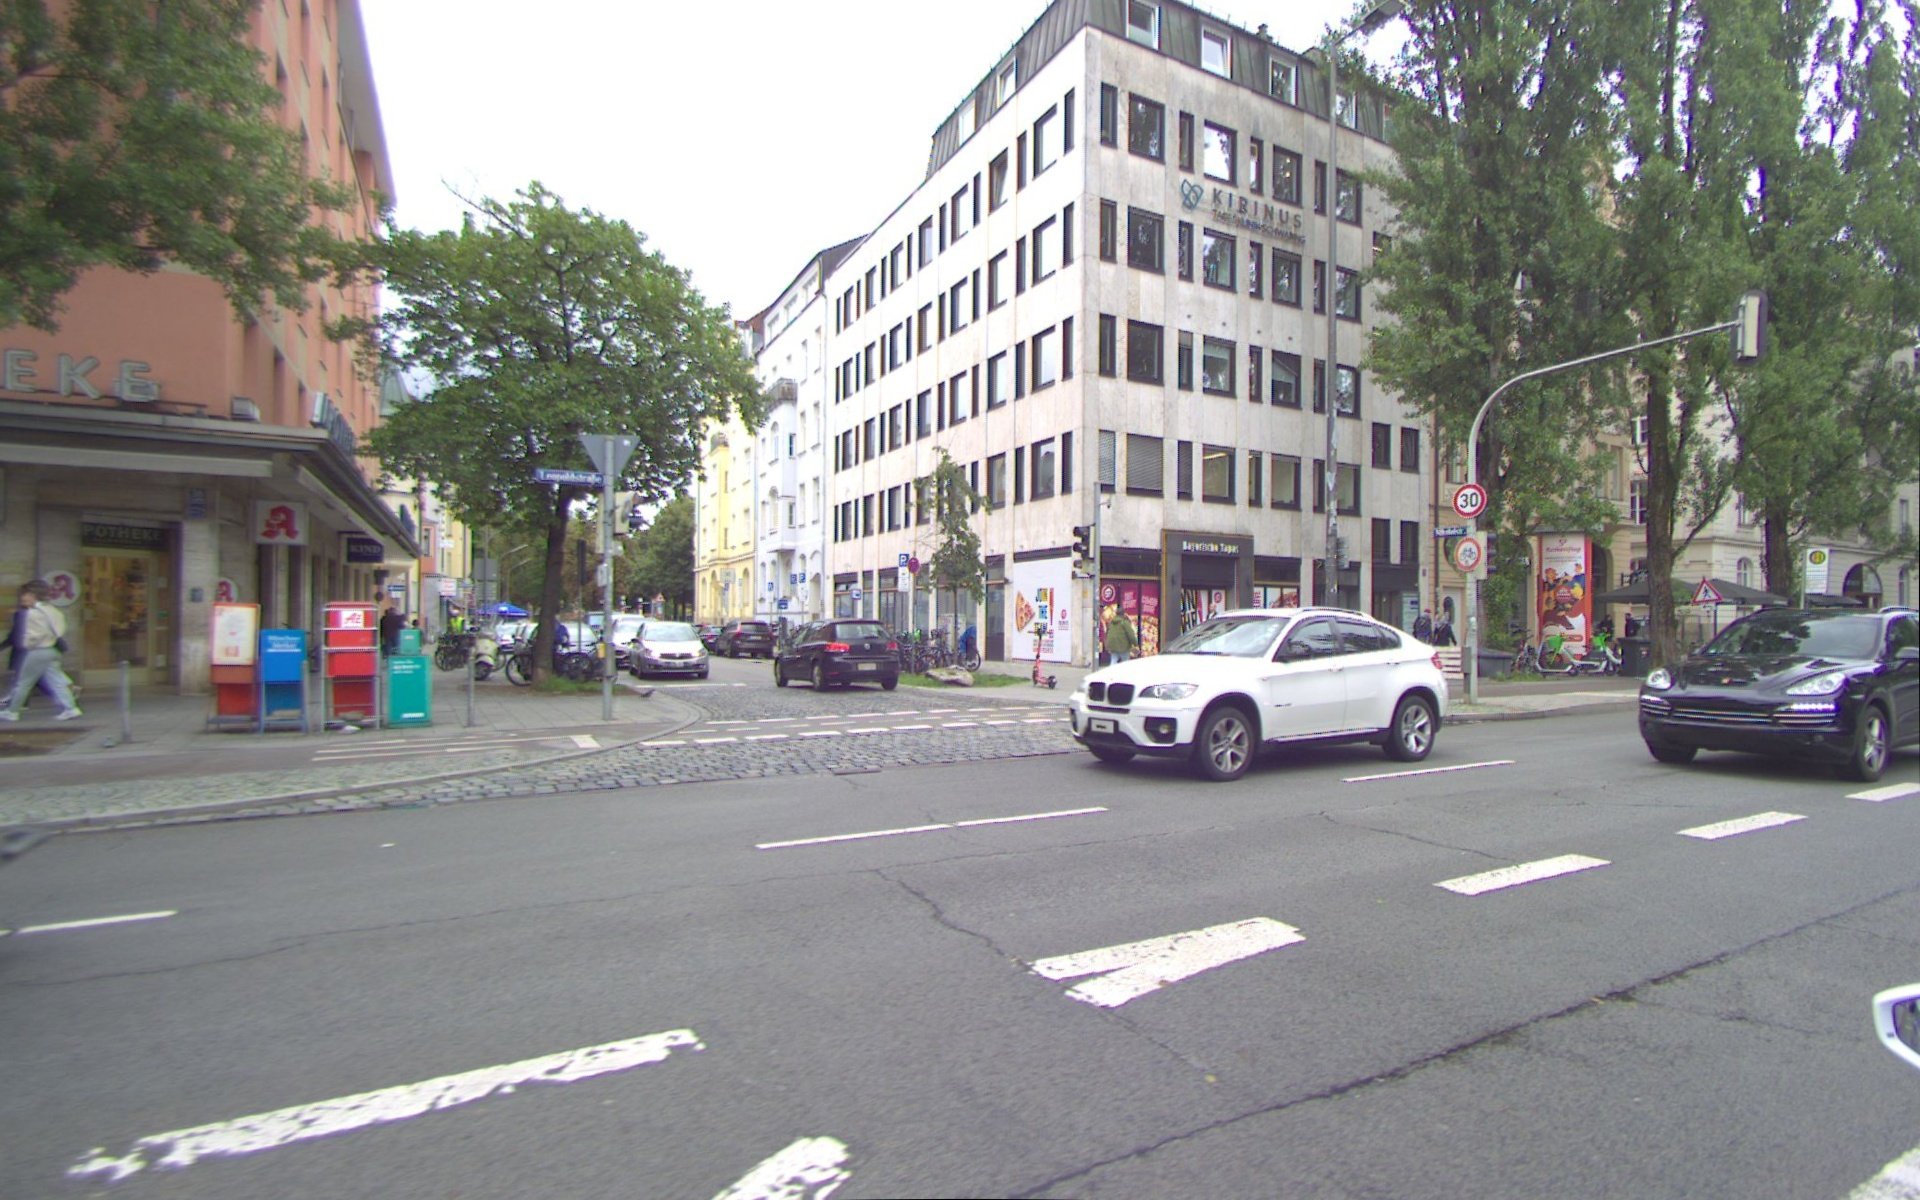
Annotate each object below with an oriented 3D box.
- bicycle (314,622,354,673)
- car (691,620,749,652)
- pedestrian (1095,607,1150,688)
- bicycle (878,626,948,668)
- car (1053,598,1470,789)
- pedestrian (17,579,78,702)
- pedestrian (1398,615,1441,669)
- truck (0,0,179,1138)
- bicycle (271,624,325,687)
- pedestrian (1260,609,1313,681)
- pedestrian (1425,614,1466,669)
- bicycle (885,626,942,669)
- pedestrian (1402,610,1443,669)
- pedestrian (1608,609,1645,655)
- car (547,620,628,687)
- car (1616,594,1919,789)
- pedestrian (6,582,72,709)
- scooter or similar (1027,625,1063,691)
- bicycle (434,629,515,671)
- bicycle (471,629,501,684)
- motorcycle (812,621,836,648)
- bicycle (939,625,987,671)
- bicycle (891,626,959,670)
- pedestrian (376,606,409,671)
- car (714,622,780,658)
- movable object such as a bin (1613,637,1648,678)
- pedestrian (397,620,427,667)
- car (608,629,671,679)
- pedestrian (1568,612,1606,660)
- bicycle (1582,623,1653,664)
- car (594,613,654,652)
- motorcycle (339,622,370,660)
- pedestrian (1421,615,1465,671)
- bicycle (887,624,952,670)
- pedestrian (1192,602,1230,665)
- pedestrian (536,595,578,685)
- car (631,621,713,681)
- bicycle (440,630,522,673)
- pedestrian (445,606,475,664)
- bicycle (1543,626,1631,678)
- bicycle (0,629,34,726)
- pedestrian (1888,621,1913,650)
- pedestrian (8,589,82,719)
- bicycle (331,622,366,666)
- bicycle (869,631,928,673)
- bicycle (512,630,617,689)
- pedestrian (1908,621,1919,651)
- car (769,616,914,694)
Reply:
[{"bbox_3d":[-15.670,1.162,25.173,0.681,1.200,2.049,1,-1,-27],"label":"bicycle"},{"bbox_3d":[-11.721,1.723,48.898,1.973,1.439,3.974,1,-1,-26],"label":"car"},{"bbox_3d":[3.642,1.057,22.495,0.931,1.763,0.723,1,0,-31],"label":"pedestrian"},{"bbox_3d":[-1.382,1.385,29.725,2.028,1.200,0.415,1,-1,-15],"label":"bicycle"},{"bbox_3d":[3.421,0.911,11.138,4.581,1.738,1.828,1,-2,-31],"label":"car"},{"bbox_3d":[-13.026,0.566,14.350,0.508,1.713,0.583,1,-1,-30],"label":"pedestrian"},{"bbox_3d":[13.828,1.253,30.229,0.979,1.588,0.746,1,0,-34],"label":"pedestrian"},{"bbox_3d":[-6.819,-0.433,1.703,8.342,3.719,2.451,1,-1,-31],"label":"truck"},{"bbox_3d":[-13.371,1.089,20.324,0.681,1.200,2.049,1,-1,-27],"label":"bicycle"},{"bbox_3d":[7.651,1.031,23.542,0.924,1.640,0.774,1,-1,-31],"label":"pedestrian"},{"bbox_3d":[15.243,1.288,31.561,0.966,1.704,0.728,1,1,-31],"label":"pedestrian"},{"bbox_3d":[-1.322,1.347,29.006,0.410,1.200,1.999,0,-1,39],"label":"bicycle"},{"bbox_3d":[14.858,1.255,32.271,0.901,1.811,0.796,1,1,-30],"label":"pedestrian"},{"bbox_3d":[26.149,1.244,39.413,0.809,1.767,0.903,1,0,-25],"label":"pedestrian"},{"bbox_3d":[-9.420,1.297,25.352,1.755,1.439,3.979,1,0,-21],"label":"car"},{"bbox_3d":[9.375,0.869,11.054,4.387,1.769,1.875,1,-1,-30],"label":"car"},{"bbox_3d":[-12.665,0.610,13.829,0.513,1.711,0.626,1,0,-29],"label":"pedestrian"},{"bbox_3d":[1.841,1.242,21.900,0.430,1.357,1.363,0,-1,-10],"label":"scooter or similar"},{"bbox_3d":[-14.301,1.462,29.629,2.044,1.200,0.682,1,-1,-38],"label":"bicycle"},{"bbox_3d":[-11.577,1.355,24.576,0.530,1.200,2.052,1,0,-22],"label":"bicycle"},{"bbox_3d":[-6.754,1.699,49.911,0.550,1.305,2.126,1,-1,-26],"label":"motorcycle"},{"bbox_3d":[0.068,1.389,29.347,0.550,1.266,2.126,1,-1,-26],"label":"bicycle"},{"bbox_3d":[-0.963,1.325,27.987,2.014,1.200,0.412,1,-1,-38],"label":"bicycle"},{"bbox_3d":[-16.073,1.084,28.462,0.772,1.790,0.659,1,0,-31],"label":"pedestrian"},{"bbox_3d":[-9.399,1.755,44.169,1.973,1.490,3.975,0,-2,-25],"label":"car"},{"bbox_3d":[18.384,1.578,27.557,0.712,1.055,0.854,2,0,31],"label":"movable object such as a bin"},{"bbox_3d":[-16.972,1.347,31.133,0.772,1.409,0.659,1,0,-31],"label":"pedestrian"},{"bbox_3d":[-10.474,1.709,32.701,1.717,1.439,3.980,1,-1,-21],"label":"car"},{"bbox_3d":[23.761,1.357,38.069,0.943,1.767,0.840,1,0,-30],"label":"pedestrian"},{"bbox_3d":[18.680,1.239,28.550,1.776,1.102,0.507,1,0,-7],"label":"bicycle"},{"bbox_3d":[-13.430,1.273,40.000,1.762,1.439,4.042,2,-1,-26],"label":"car"},{"bbox_3d":[-19.023,1.262,31.566,0.681,1.153,2.049,1,-1,-27],"label":"motorcycle"},{"bbox_3d":[14.232,1.263,29.578,0.979,1.588,0.746,1,0,-34],"label":"pedestrian"},{"bbox_3d":[-1.065,1.238,26.832,1.836,1.200,0.412,1,-1,-38],"label":"bicycle"},{"bbox_3d":[7.367,0.972,29.471,0.810,1.811,0.696,1,0,-29],"label":"pedestrian"},{"bbox_3d":[-8.249,0.803,20.539,0.684,1.790,0.775,1,-1,-30],"label":"pedestrian"},{"bbox_3d":[-7.782,1.305,26.913,1.755,1.439,3.980,1,-1,-21],"label":"car"},{"bbox_3d":[-13.817,1.462,29.012,2.044,1.200,0.682,1,-1,-38],"label":"bicycle"},{"bbox_3d":[-15.533,1.083,31.182,0.772,1.790,0.659,1,-1,-31],"label":"pedestrian"},{"bbox_3d":[16.963,1.404,27.216,1.915,1.307,0.508,1,0,17],"label":"bicycle"},{"bbox_3d":[-12.074,0.936,12.043,1.357,1.156,0.419,1,-1,-30],"label":"bicycle"},{"bbox_3d":[49.629,1.865,52.999,0.795,1.558,0.764,1,-1,-31],"label":"pedestrian"},{"bbox_3d":[-11.719,0.676,12.876,0.541,1.604,0.654,1,-1,-29],"label":"pedestrian"},{"bbox_3d":[-17.340,1.221,28.508,0.681,1.200,2.049,1,-1,-27],"label":"bicycle"},{"bbox_3d":[-1.842,1.555,30.409,0.444,1.200,2.051,0,-1,43],"label":"bicycle"},{"bbox_3d":[-8.391,1.249,21.360,2.044,1.200,0.412,1,-1,-38],"label":"bicycle"},{"bbox_3d":[49.893,1.869,52.178,0.795,1.558,0.764,1,-1,-31],"label":"pedestrian"},{"bbox_3d":[-2.612,1.086,21.366,1.752,1.494,3.674,1,-1,-30],"label":"car"}]
